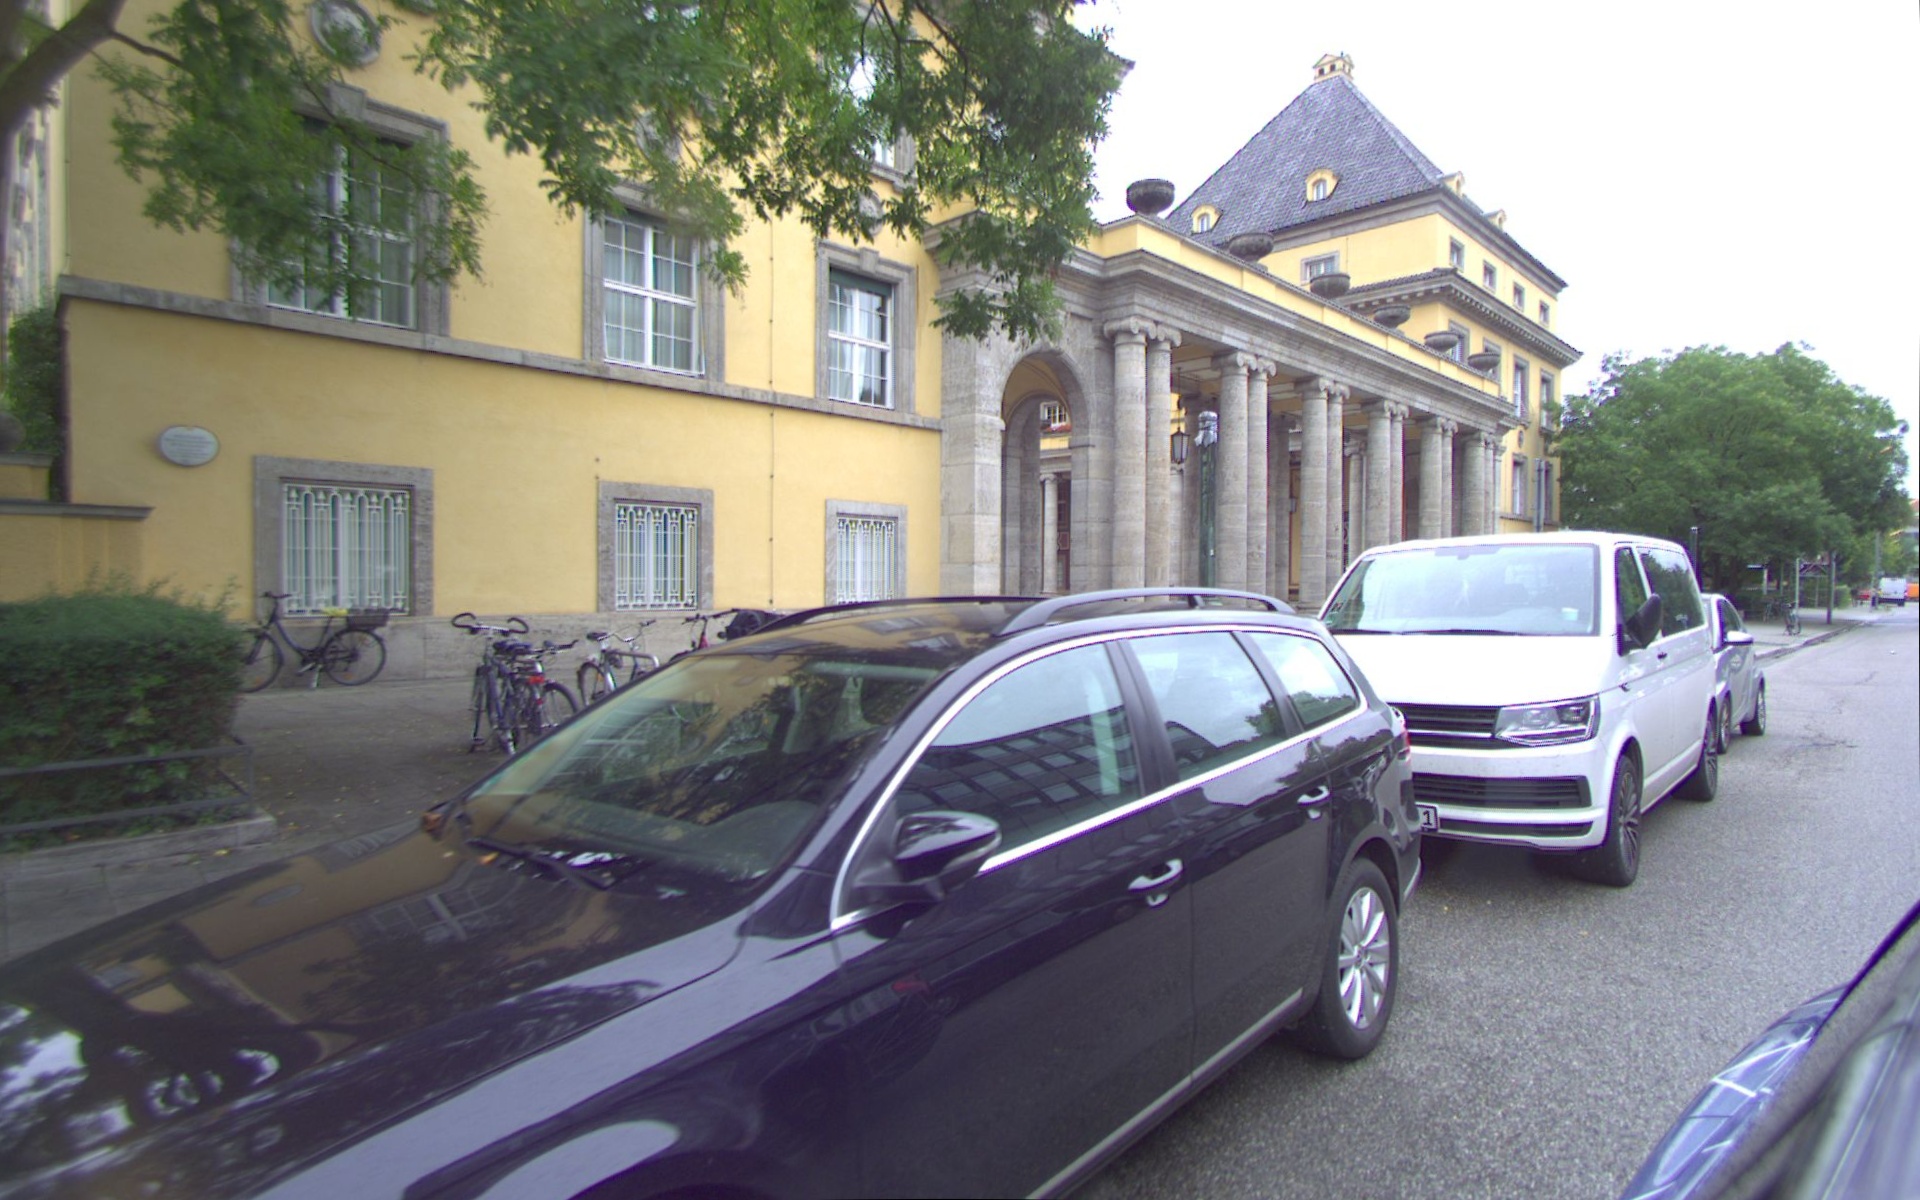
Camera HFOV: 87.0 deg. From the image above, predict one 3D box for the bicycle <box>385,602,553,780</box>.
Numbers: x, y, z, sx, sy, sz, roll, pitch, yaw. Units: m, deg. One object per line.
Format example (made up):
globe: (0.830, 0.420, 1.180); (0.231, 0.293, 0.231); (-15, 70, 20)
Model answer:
bicycle: (-3.812, 0.622, 7.765); (2.031, 1.127, 0.464); (3, 2, 43)

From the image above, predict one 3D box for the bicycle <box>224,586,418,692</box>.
bicycle: (-7.556, 0.427, 12.034); (0.542, 1.169, 1.871); (2, 1, 44)

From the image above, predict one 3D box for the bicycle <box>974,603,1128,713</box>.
bicycle: (1.038, 0.642, 12.002); (1.931, 1.127, 0.464); (3, 2, 43)

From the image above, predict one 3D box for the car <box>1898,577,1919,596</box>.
car: (133.461, -1.866, 140.025); (2.523, 2.568, 4.988); (-2, -1, -1)

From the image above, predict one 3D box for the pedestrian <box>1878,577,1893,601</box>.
pedestrian: (75.660, -0.893, 82.707); (0.773, 1.889, 0.983); (-3, -1, 39)

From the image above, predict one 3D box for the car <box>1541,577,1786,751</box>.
car: (7.507, 0.582, 10.719); (2.886, 1.566, 1.606); (-1, -1, -45)

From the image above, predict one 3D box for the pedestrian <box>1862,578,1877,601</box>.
pedestrian: (74.873, -0.863, 83.289); (0.773, 1.889, 0.984); (-3, -1, 37)

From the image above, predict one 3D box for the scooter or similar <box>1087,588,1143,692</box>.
scooter or similar: (1.960, 0.480, 12.875); (0.528, 1.237, 1.012); (1, 1, 0)

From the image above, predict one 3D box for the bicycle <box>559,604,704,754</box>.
bicycle: (-2.960, 0.639, 8.993); (0.463, 1.127, 1.934); (0, 2, -42)

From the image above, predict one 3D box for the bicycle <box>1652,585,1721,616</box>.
bicycle: (30.315, 0.008, 42.275); (2.251, 1.071, 0.594); (7, 6, 35)

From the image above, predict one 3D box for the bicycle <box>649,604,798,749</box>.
bicycle: (-2.226, 0.644, 9.350); (0.463, 1.127, 1.935); (0, 2, -42)

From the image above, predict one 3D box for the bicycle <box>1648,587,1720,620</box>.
bicycle: (29.210, 0.124, 40.895); (2.251, 1.107, 0.594); (7, 6, 35)

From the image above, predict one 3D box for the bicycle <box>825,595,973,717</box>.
bicycle: (-0.696, 0.544, 10.811); (0.463, 1.127, 1.935); (0, 2, -42)

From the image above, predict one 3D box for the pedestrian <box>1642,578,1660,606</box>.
pedestrian: (48.087, -0.587, 70.414); (1.018, 1.887, 0.781); (-1, 4, -45)

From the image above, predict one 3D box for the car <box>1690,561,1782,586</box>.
car: (53.823, -1.848, 70.230); (4.896, 1.702, 1.936); (2, 2, 44)

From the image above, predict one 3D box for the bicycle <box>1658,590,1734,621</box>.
bicycle: (28.801, 0.200, 39.640); (2.358, 1.018, 0.669); (4, 3, 37)

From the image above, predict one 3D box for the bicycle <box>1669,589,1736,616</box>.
bicycle: (32.512, 0.100, 44.341); (0.591, 1.023, 2.261); (1, 3, -42)

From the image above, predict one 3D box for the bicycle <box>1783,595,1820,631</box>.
bicycle: (28.532, 0.420, 34.311); (0.761, 1.114, 2.228); (4, 4, 44)

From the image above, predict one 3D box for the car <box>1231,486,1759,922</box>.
car: (4.051, 0.466, 7.074); (1.845, 1.958, 5.189); (-3, -1, 44)

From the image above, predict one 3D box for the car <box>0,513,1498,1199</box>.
car: (-0.125, 0.686, 2.929); (1.770, 1.509, 4.897); (-2, -1, 43)

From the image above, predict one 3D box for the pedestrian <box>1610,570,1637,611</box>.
pedestrian: (29.020, -0.411, 44.250); (0.788, 1.767, 1.039); (2, 2, 45)

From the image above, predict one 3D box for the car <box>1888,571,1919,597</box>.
car: (89.881, -1.564, 96.141); (2.226, 2.331, 4.664); (-3, -1, 39)
